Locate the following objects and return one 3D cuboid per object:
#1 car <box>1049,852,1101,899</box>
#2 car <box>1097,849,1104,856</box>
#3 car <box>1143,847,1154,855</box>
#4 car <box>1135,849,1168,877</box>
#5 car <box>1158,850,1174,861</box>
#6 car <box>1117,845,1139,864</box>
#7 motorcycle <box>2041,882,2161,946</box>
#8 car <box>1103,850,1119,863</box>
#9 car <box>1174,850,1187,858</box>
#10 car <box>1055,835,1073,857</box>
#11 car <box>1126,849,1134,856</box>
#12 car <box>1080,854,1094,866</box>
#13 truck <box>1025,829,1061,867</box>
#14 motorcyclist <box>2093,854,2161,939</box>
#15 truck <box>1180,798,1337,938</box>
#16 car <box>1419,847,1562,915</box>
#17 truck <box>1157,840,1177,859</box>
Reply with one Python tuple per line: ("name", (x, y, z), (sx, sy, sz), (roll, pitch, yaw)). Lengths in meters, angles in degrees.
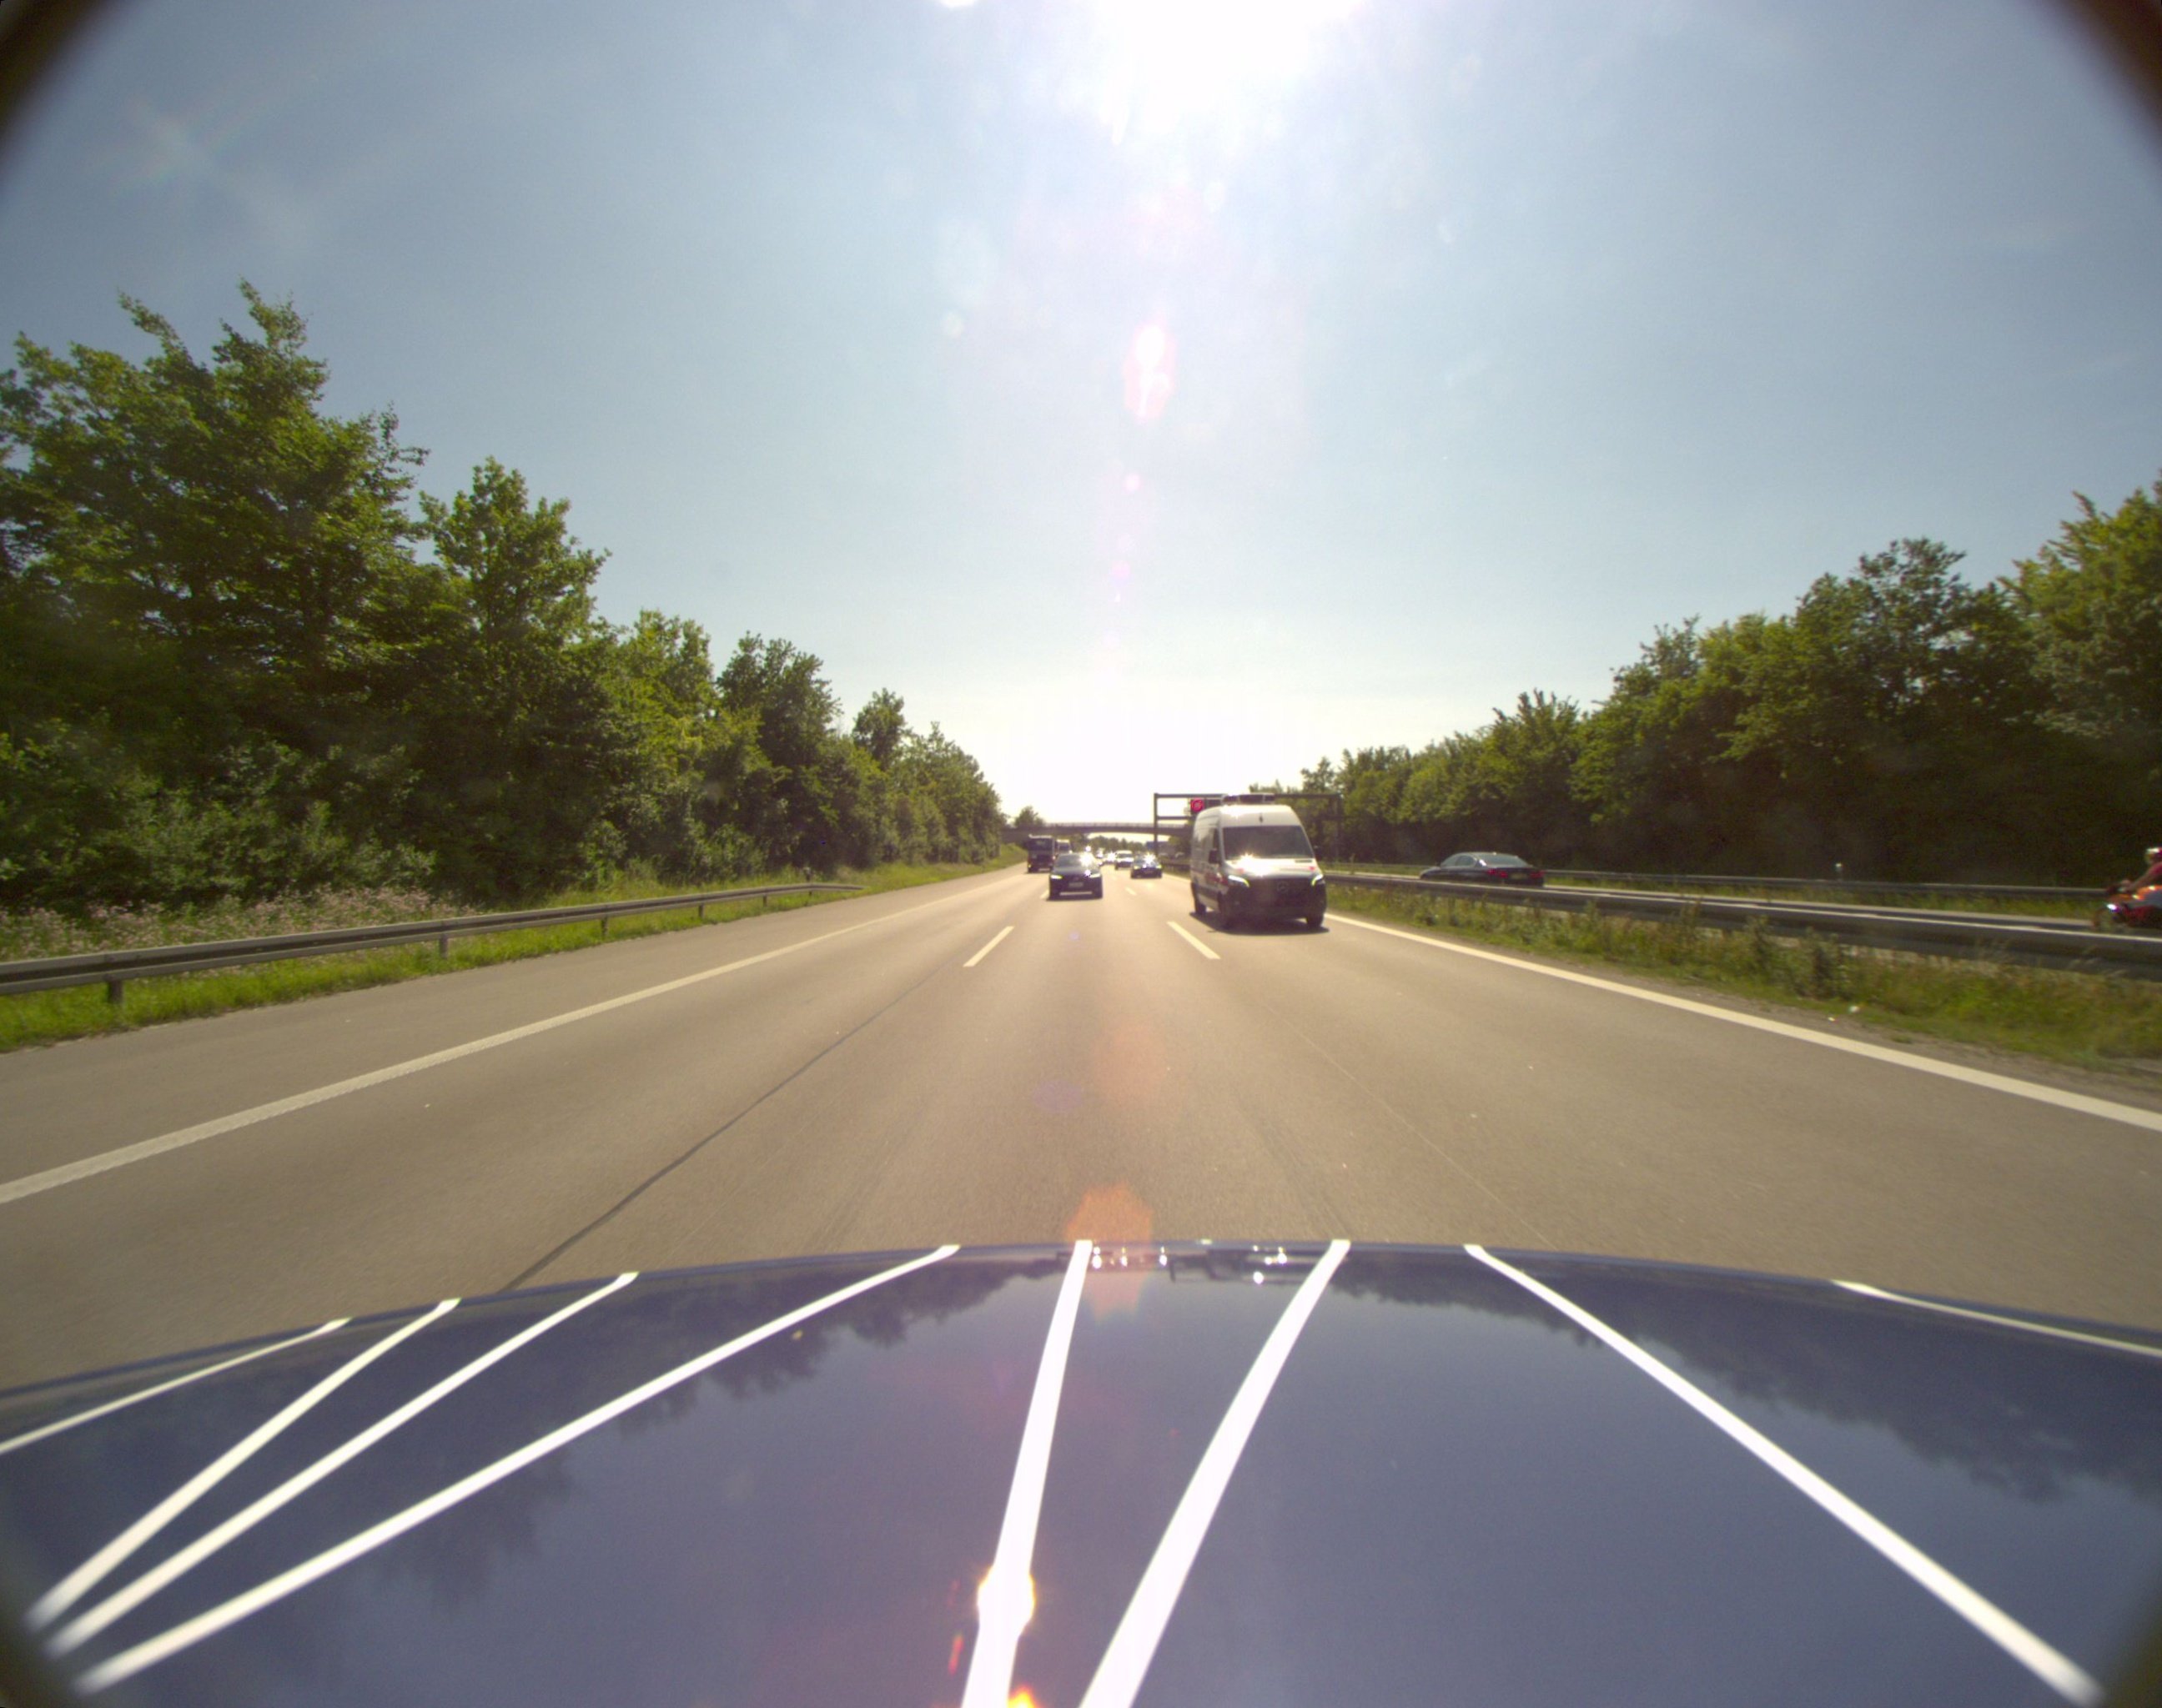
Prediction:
("car", (-0.191, 0.742, 28.499), (1.812, 1.648, 4.000), (0, 0, 1))
("car", (5.404, -0.424, 211.888), (1.998, 2.002, 4.345), (0, 0, 2))
("car", (16.507, -0.752, 186.000), (1.998, 1.795, 5.125), (-1, 1, 0))
("car", (4.409, 0.540, 48.117), (1.904, 1.616, 4.241), (-1, 0, 3))
("car", (12.936, 0.240, 115.991), (1.998, 1.589, 4.591), (0, 1, 0))
("car", (4.469, -0.018, 72.702), (1.870, 1.713, 3.980), (-1, 1, 0))
("motorcycle", (18.719, 1.041, 13.117), (0.937, 1.012, 2.655), (0, 0, 0))
("car", (3.898, 0.302, 97.582), (1.998, 1.540, 3.999), (-1, 1, 2))
("car", (20.145, -0.014, 153.630), (1.907, 1.456, 5.065), (0, 1, 0))
("car", (-3.074, -1.507, 143.488), (3.202, 3.997, 8.125), (0, 1, 0))
("car", (13.447, -0.433, 208.286), (1.911, 1.697, 5.196), (2, 1, 0))
("car", (0.843, 0.869, 110.380), (1.742, 1.630, 3.845), (0, 1, 5))
("truck", (-3.511, -0.577, 71.712), (2.965, 3.388, 8.046), (0, 1, 0))
("motorcyclist", (18.724, 0.718, 13.018), (0.943, 1.435, 1.356), (0, 0, 0))
("truck", (3.733, 0.254, 17.455), (1.998, 2.527, 6.691), (-2, 0, 0))
("car", (12.388, 0.741, 23.419), (1.694, 1.871, 5.018), (0, 0, 0))
("truck", (16.227, -0.907, 143.461), (2.786, 3.286, 8.055), (-1, 1, 0))
